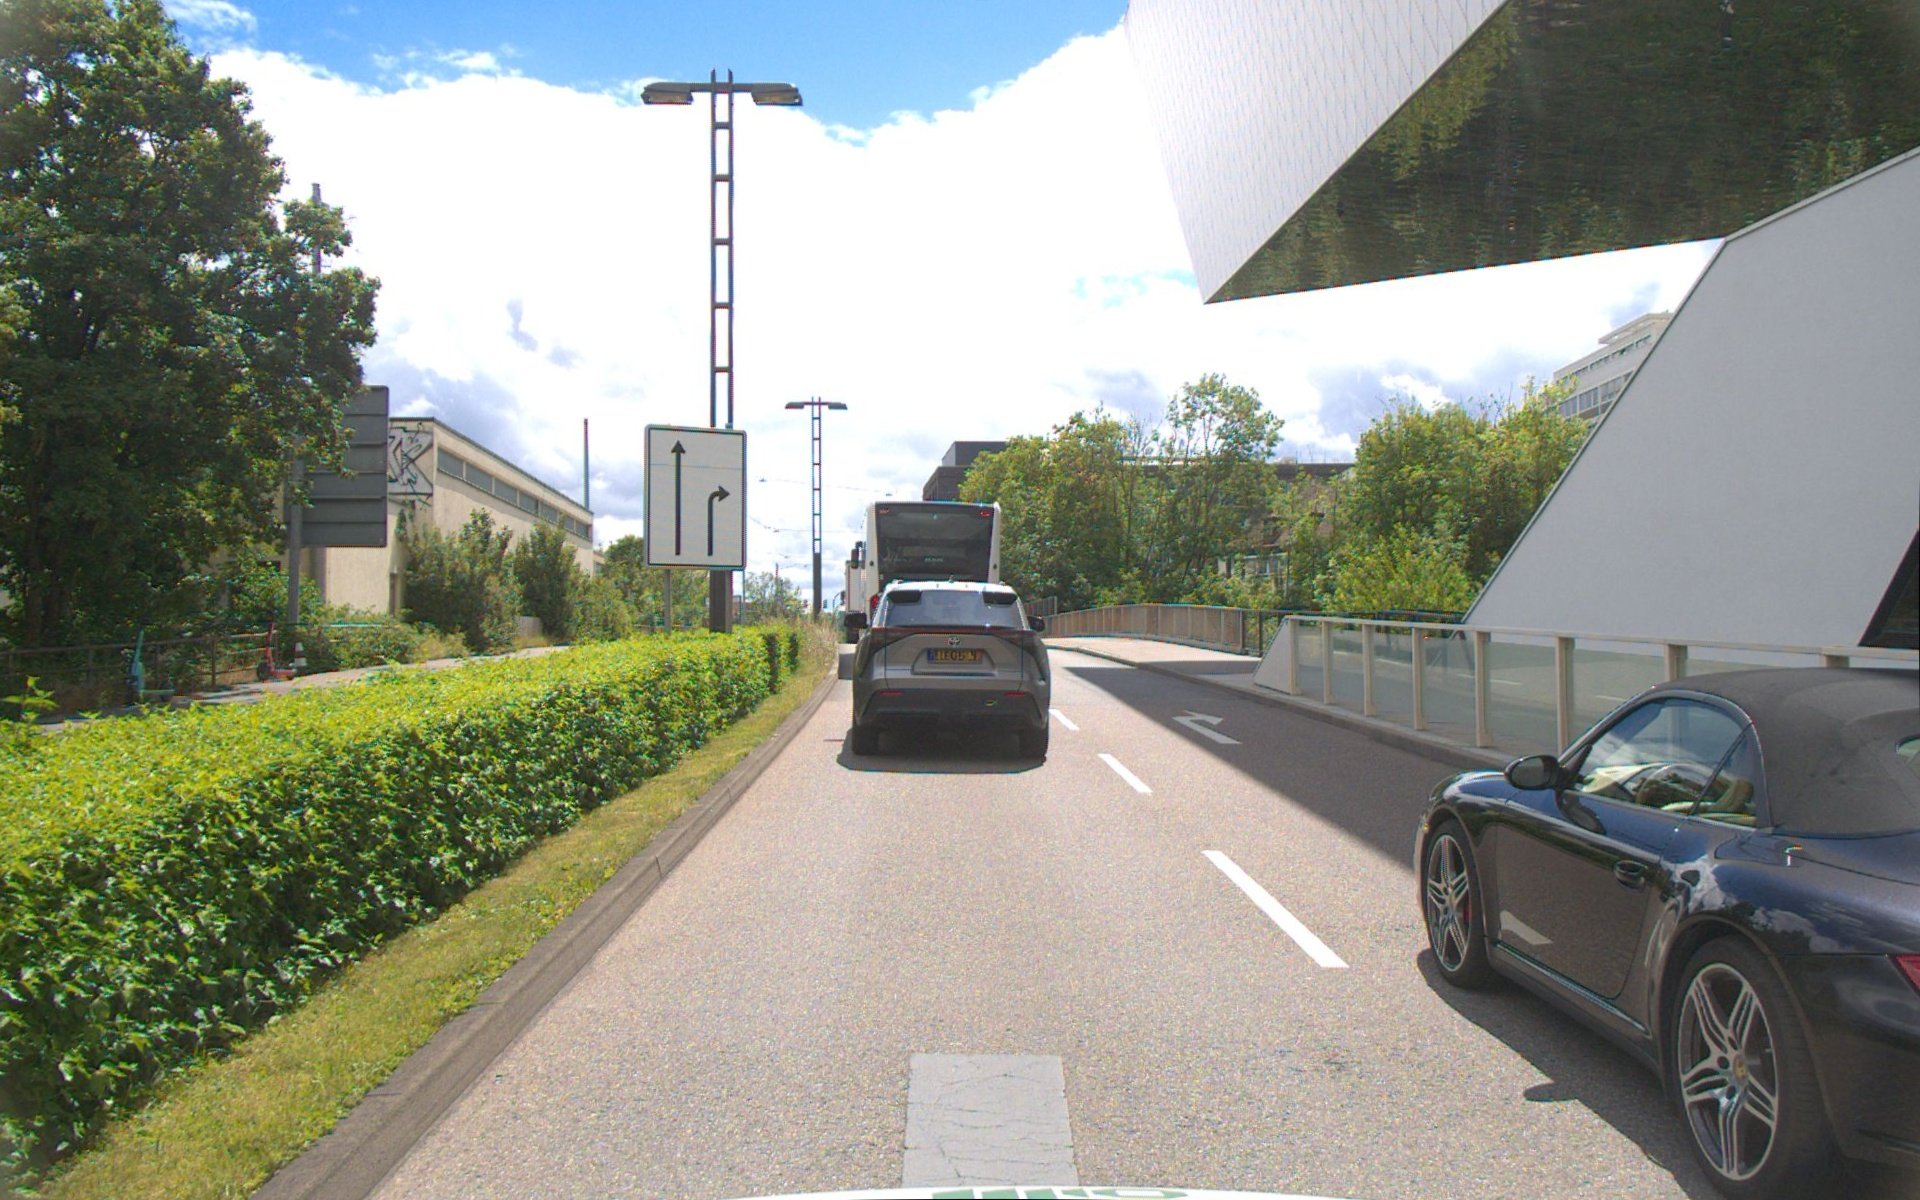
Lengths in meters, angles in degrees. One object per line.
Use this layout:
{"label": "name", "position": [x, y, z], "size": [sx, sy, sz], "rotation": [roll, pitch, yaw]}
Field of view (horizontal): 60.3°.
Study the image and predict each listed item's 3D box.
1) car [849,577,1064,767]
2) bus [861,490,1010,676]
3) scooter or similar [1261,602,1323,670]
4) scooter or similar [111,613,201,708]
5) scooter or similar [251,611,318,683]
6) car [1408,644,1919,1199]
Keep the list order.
{"label": "car", "position": [-0.095, 0.636, 16.416], "size": [1.842, 1.622, 4.228], "rotation": [1, 0, -2]}
{"label": "bus", "position": [-0.566, -0.410, 35.897], "size": [2.634, 3.312, 12.055], "rotation": [1, 1, -1]}
{"label": "scooter or similar", "position": [6.251, 0.666, 31.236], "size": [0.640, 1.235, 1.856], "rotation": [-1, 0, -4]}
{"label": "scooter or similar", "position": [-11.828, 0.872, 24.370], "size": [0.481, 1.327, 1.643], "rotation": [1, 0, 1]}
{"label": "scooter or similar", "position": [-12.112, 0.826, 29.683], "size": [0.481, 1.237, 1.643], "rotation": [-1, 0, 1]}
{"label": "car", "position": [2.811, 0.840, 5.128], "size": [1.685, 1.297, 4.087], "rotation": [0, 0, -1]}
